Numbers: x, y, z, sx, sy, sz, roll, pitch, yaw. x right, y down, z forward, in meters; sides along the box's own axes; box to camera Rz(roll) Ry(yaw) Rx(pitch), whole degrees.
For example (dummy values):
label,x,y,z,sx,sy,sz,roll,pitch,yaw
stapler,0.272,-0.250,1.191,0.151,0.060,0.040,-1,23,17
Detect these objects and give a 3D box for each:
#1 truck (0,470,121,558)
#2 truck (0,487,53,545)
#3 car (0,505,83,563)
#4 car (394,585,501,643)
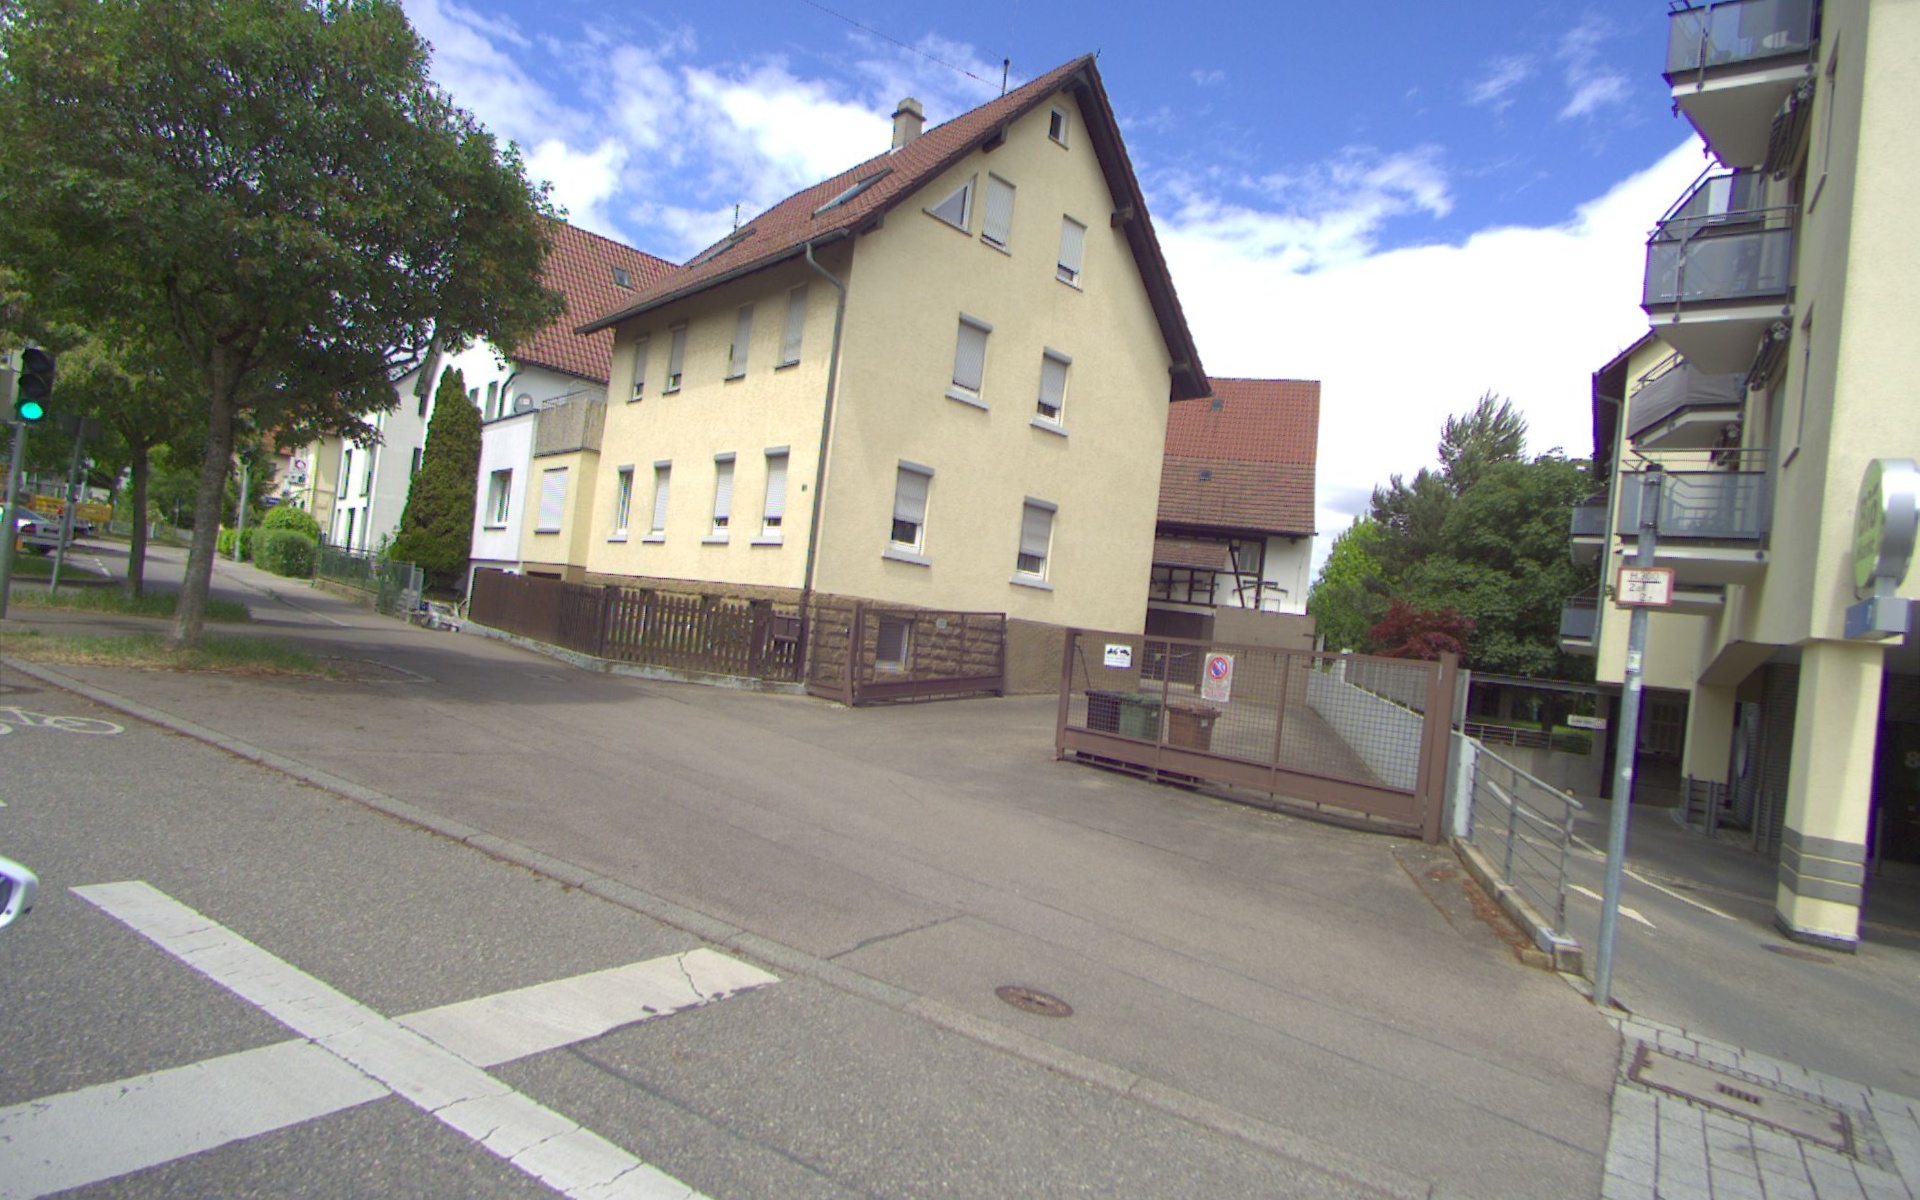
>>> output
label,x,y,z,sx,sy,sz,roll,pitch,yaw
truck,-41.365,-3.984,43.858,6.591,3.039,2.772,9,-4,-6
truck,-40.997,-3.809,41.040,5.581,2.034,2.001,9,-4,-7
car,-30.152,-2.271,30.871,4.606,1.468,1.768,9,-2,-4
car,-13.697,0.347,26.785,1.459,1.136,3.827,12,-6,-42
